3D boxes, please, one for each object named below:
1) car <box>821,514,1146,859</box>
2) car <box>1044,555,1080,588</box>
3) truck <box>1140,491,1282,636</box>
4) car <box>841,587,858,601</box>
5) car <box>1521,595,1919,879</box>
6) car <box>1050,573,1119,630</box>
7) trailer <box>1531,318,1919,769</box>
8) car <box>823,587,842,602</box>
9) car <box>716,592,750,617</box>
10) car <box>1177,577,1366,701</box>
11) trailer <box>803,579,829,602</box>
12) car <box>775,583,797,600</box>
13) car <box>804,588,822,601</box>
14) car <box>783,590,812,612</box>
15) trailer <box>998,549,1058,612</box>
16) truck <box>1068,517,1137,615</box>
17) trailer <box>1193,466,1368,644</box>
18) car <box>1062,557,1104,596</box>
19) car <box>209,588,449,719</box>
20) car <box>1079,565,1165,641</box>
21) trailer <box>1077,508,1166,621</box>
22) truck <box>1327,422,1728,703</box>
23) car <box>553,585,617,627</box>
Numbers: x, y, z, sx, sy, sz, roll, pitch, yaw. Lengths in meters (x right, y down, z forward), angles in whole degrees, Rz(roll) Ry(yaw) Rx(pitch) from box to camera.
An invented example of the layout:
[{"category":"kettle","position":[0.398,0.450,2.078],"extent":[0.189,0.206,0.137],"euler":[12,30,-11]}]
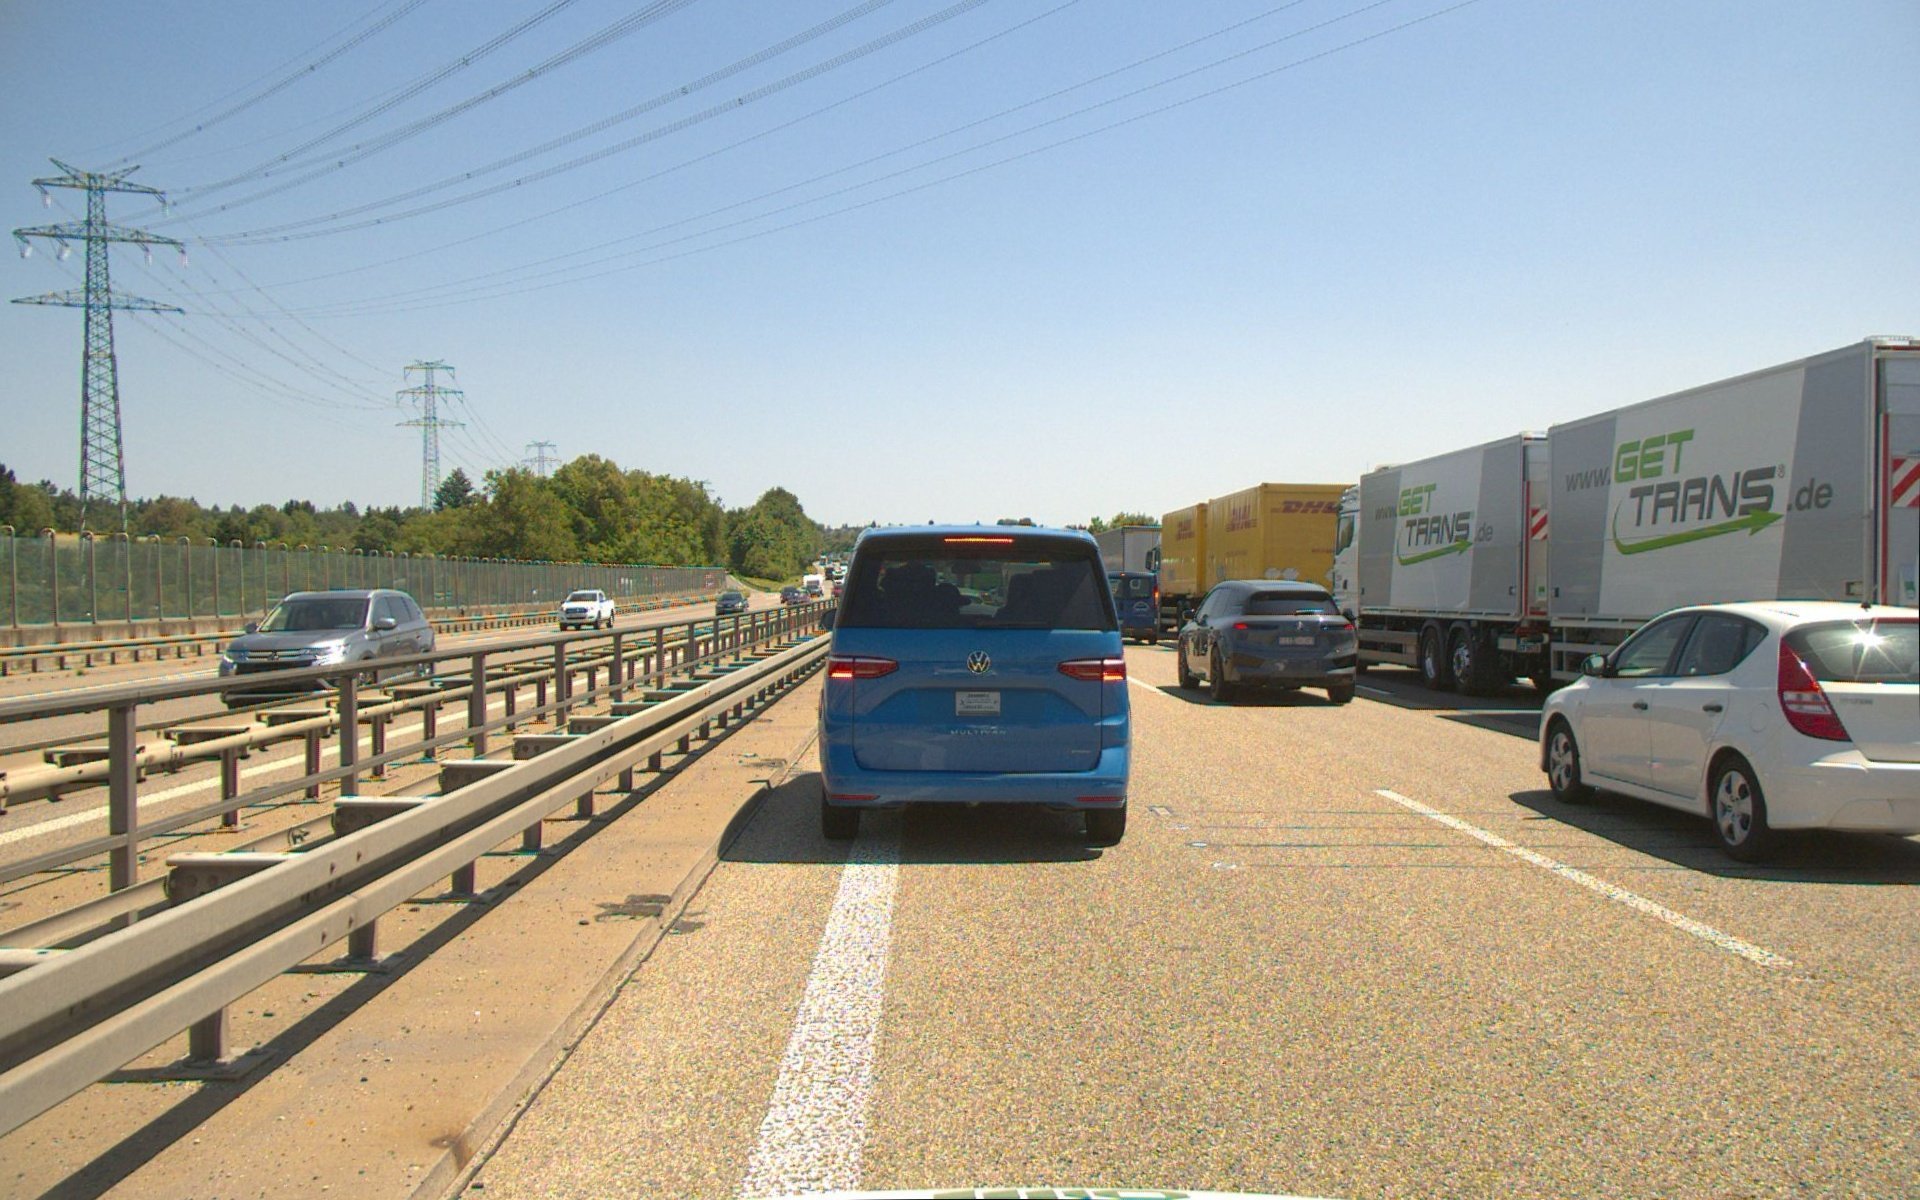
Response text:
[{"category":"car","position":[0.100,0.472,11.215],"extent":[1.783,1.890,4.074],"euler":[1,0,-1]},{"category":"car","position":[6.673,-1.856,108.530],"extent":[1.953,2.049,4.460],"euler":[-1,0,-1]},{"category":"truck","position":[8.132,-1.130,55.176],"extent":[2.779,4.317,11.007],"euler":[1,0,-1]},{"category":"car","position":[-12.651,-0.732,189.318],"extent":[1.634,1.473,4.000],"euler":[-3,1,0]},{"category":"car","position":[5.338,0.718,10.926],"extent":[1.752,1.481,4.292],"euler":[0,0,-1]},{"category":"car","position":[4.157,0.021,55.694],"extent":[1.953,1.847,3.999],"euler":[0,0,-1]},{"category":"trailer","position":[8.961,-0.511,17.855],"extent":[2.643,3.765,8.012],"euler":[0,0,-2]},{"category":"car","position":[-13.141,-0.602,170.713],"extent":[1.755,1.504,3.988],"euler":[-1,0,-1]},{"category":"car","position":[-13.865,0.257,101.242],"extent":[1.565,1.373,4.178],"euler":[-2,1,-1]},{"category":"car","position":[4.496,0.507,24.501],"extent":[1.922,1.673,4.292],"euler":[0,0,-1]},{"category":"trailer","position":[-17.112,-1.195,196.760],"extent":[2.443,2.593,6.773],"euler":[-2,1,-1]},{"category":"car","position":[-16.231,-0.779,154.229],"extent":[1.695,1.517,4.418],"euler":[-2,1,-2]},{"category":"car","position":[-16.976,-0.613,190.997],"extent":[1.739,1.432,4.681],"euler":[-2,1,-1]},{"category":"car","position":[-10.622,0.034,108.421],"extent":[1.565,1.340,4.340],"euler":[-2,1,-2]},{"category":"trailer","position":[3.428,-0.954,85.803],"extent":[2.517,3.042,10.661],"euler":[1,0,-1]},{"category":"truck","position":[6.904,-1.599,80.789],"extent":[2.613,4.562,6.848],"euler":[1,0,-1]},{"category":"trailer","position":[8.507,-1.112,45.123],"extent":[2.806,4.313,9.009],"euler":[1,0,-1]},{"category":"car","position":[6.737,-1.256,91.053],"extent":[1.953,2.049,3.999],"euler":[1,0,-1]},{"category":"car","position":[-8.795,0.672,23.476],"extent":[1.769,1.655,4.477],"euler":[-1,0,-1]},{"category":"car","position":[4.501,0.056,46.592],"extent":[1.922,2.028,4.292],"euler":[0,0,-1]},{"category":"trailer","position":[7.029,-1.525,73.456],"extent":[2.583,4.595,11.299],"euler":[1,0,-1]},{"category":"truck","position":[8.732,-0.553,27.361],"extent":[2.603,3.711,11.007],"euler":[0,1,-1]},{"category":"car","position":[-17.682,0.238,78.297],"extent":[1.953,1.918,5.254],"euler":[0,0,-2]}]
